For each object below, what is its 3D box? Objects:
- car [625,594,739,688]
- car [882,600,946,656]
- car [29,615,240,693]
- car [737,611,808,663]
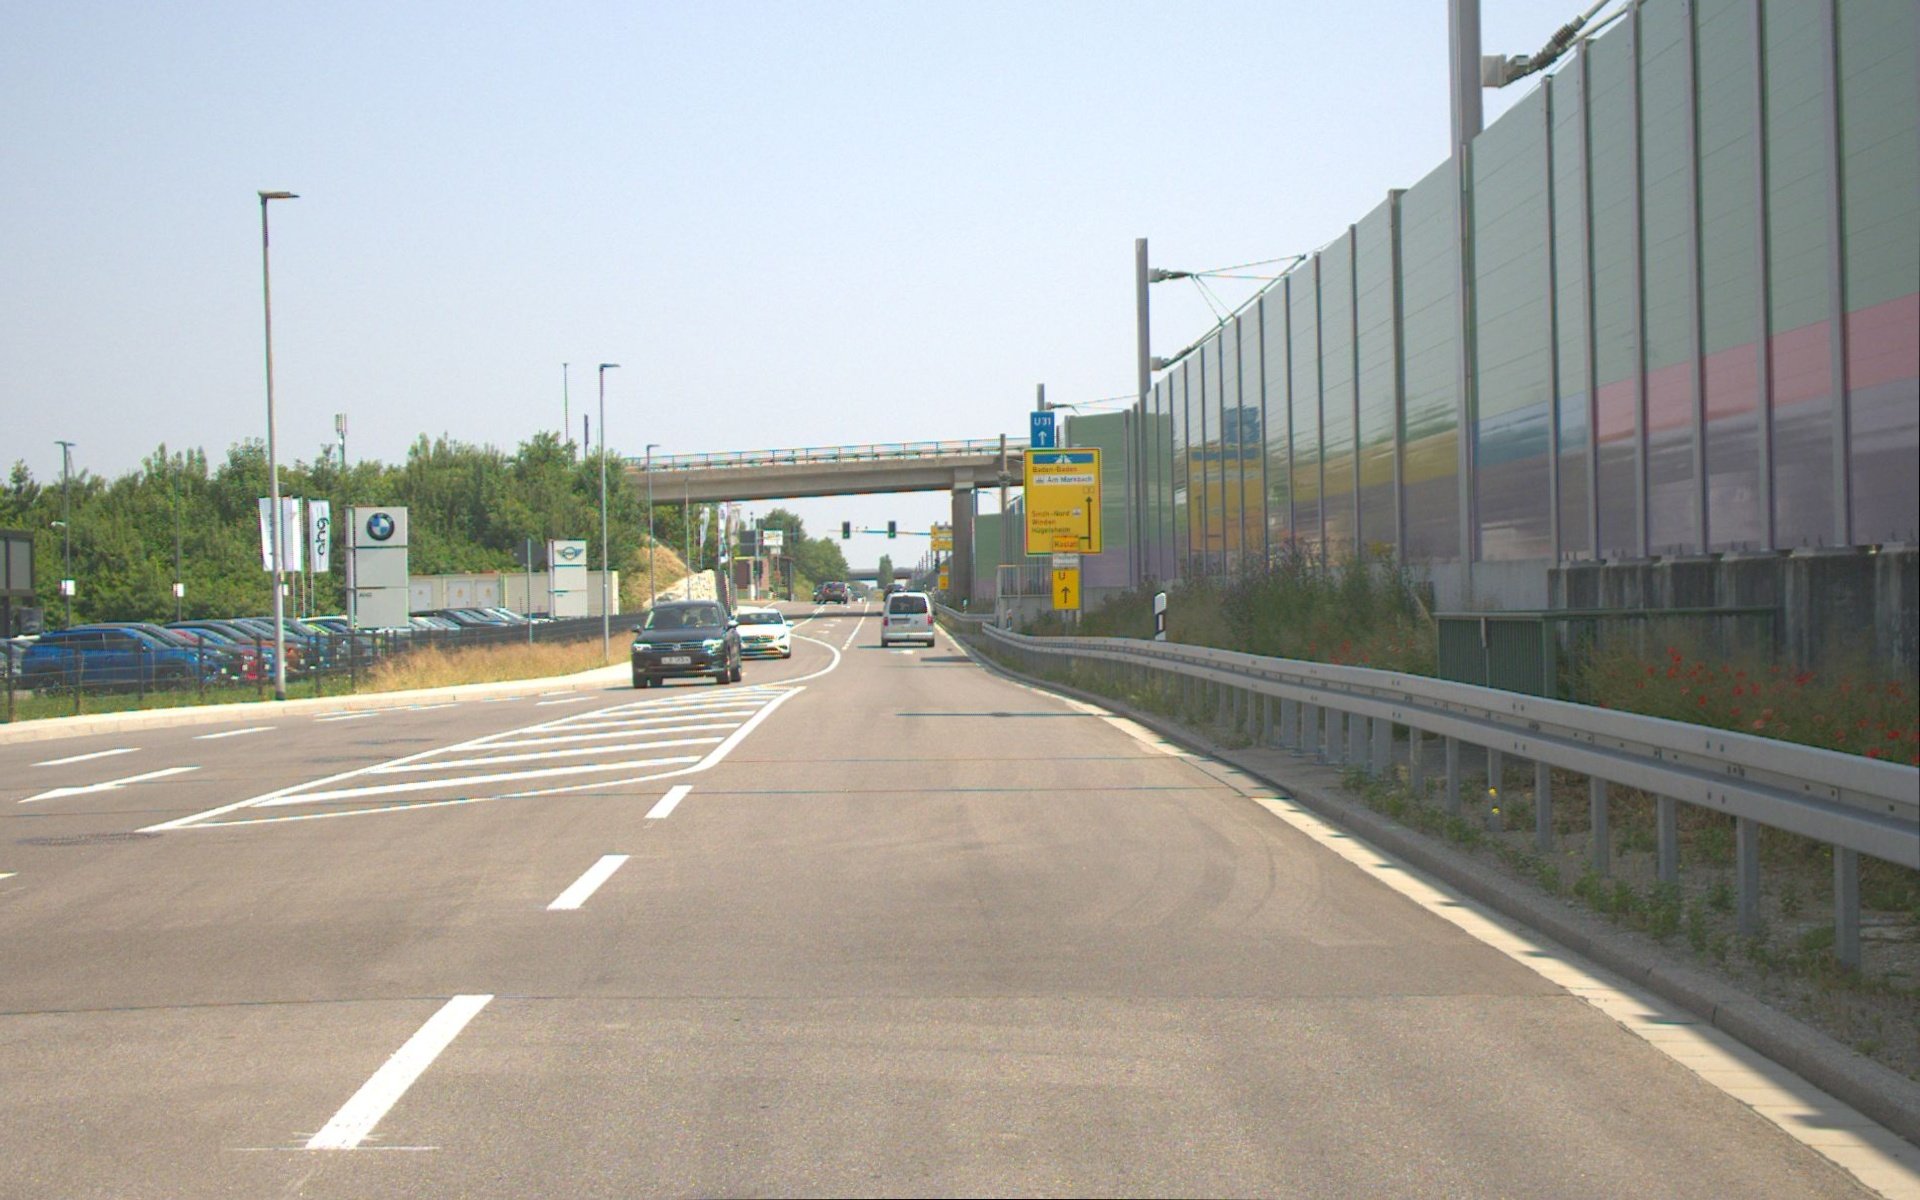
[{"bbox_3d":[-5.321,0.761,66.213,1.877,1.667,4.291,-1,1,-1],"label":"car"},{"bbox_3d":[-1.486,0.918,113.574,1.993,1.751,4.000,-1,0,1],"label":"car"},{"bbox_3d":[-17.402,1.125,72.620,3.986,1.475,1.911,-2,1,-2],"label":"car"},{"bbox_3d":[-5.441,1.066,100.075,1.781,1.411,4.050,-2,0,1],"label":"car"}]
